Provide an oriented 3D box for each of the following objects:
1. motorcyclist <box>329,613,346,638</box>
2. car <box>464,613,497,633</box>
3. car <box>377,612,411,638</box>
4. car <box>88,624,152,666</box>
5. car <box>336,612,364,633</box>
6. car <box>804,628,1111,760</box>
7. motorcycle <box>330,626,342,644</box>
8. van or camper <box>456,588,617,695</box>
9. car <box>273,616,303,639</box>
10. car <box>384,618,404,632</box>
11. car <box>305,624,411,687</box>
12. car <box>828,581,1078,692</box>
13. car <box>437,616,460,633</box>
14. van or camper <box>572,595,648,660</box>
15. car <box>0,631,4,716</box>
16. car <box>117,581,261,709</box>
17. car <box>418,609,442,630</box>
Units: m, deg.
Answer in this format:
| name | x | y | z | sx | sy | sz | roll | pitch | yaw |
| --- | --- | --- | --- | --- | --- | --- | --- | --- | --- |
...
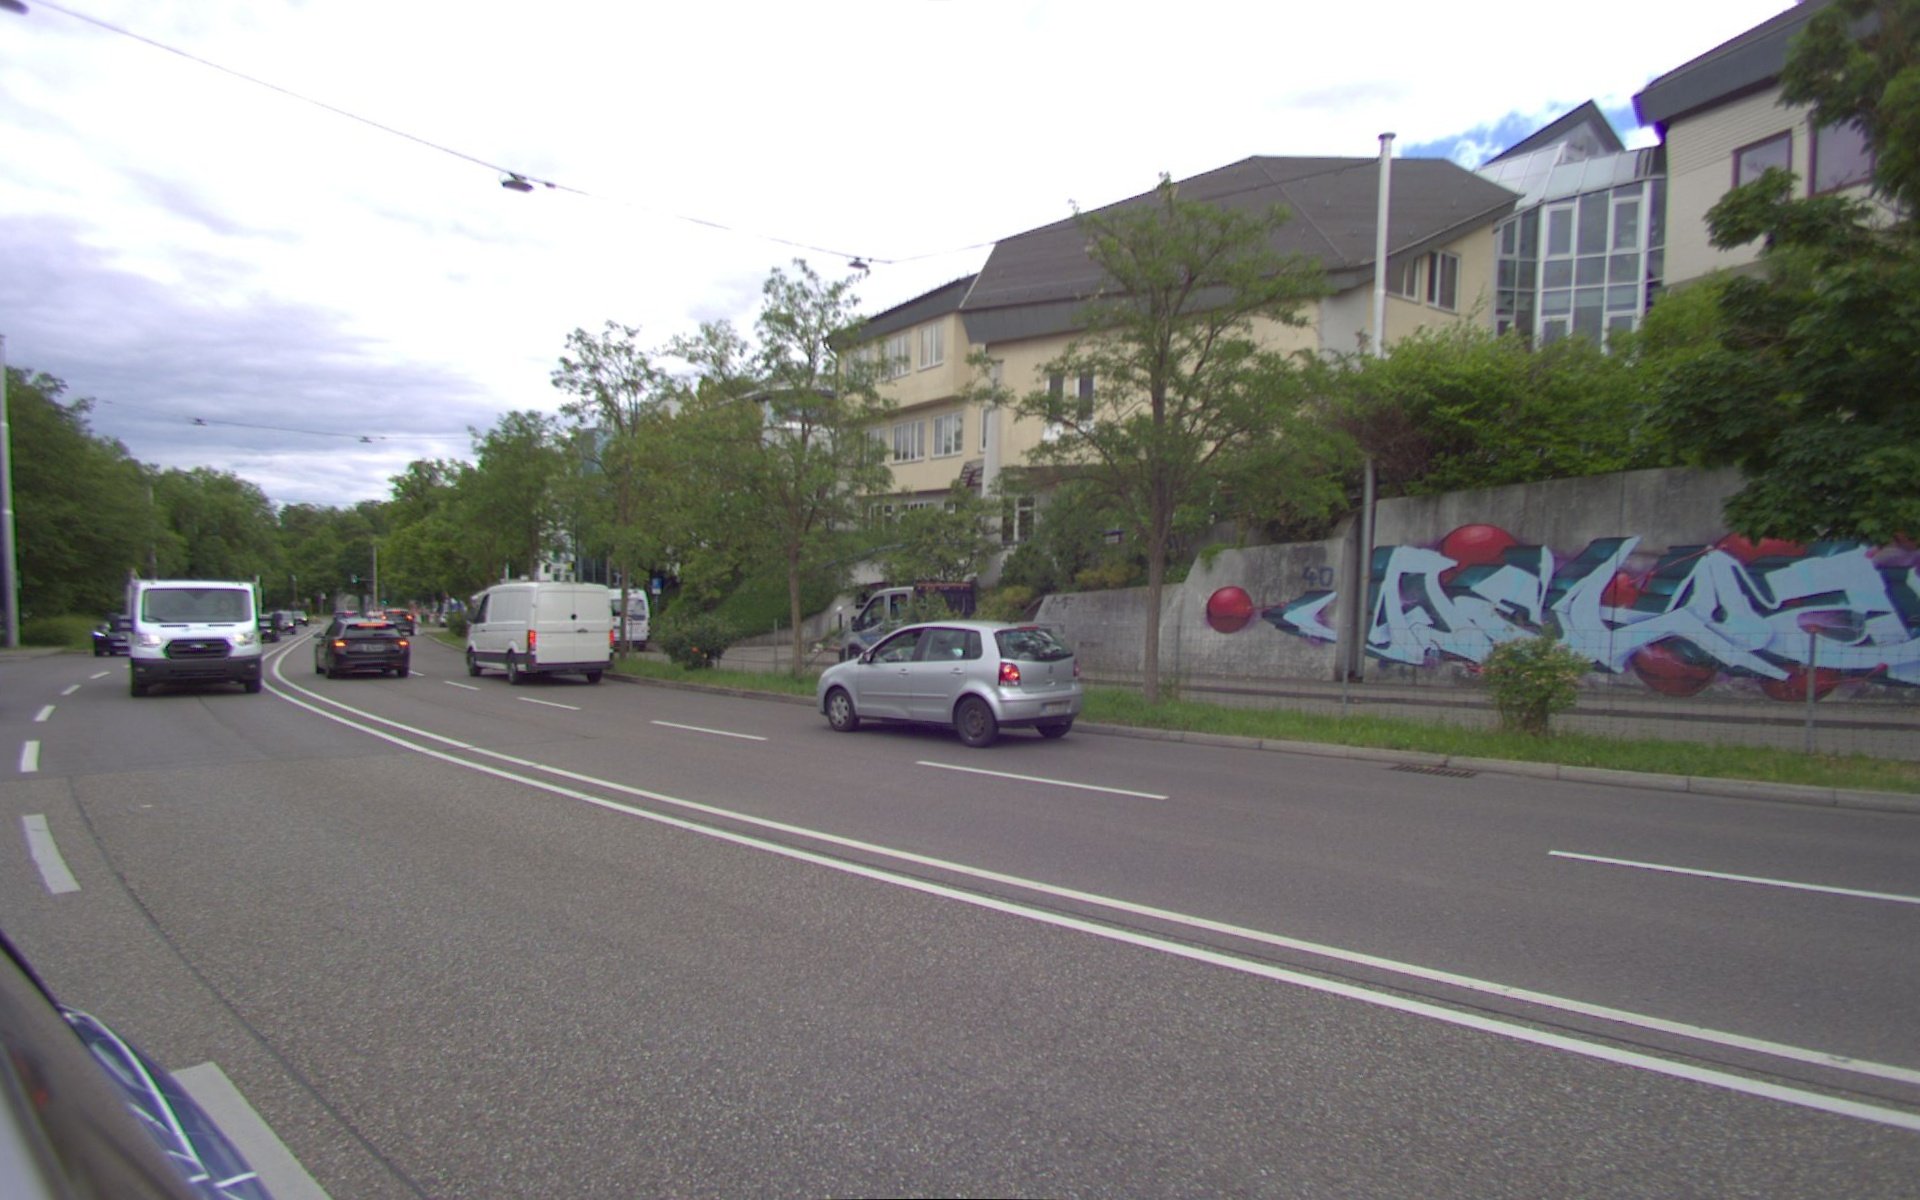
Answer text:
| name | x | y | z | sx | sy | sz | roll | pitch | yaw |
| --- | --- | --- | --- | --- | --- | --- | --- | --- | --- |
| motorcyclist | -38.264 | 1.563 | 62.199 | 0.750 | 1.496 | 0.963 | 3 | -3 | -34 |
| car | -37.195 | 1.792 | 78.472 | 1.650 | 1.439 | 4.429 | 3 | -3 | -34 |
| car | -35.215 | 1.557 | 62.924 | 1.760 | 1.587 | 4.481 | 1 | -2 | -31 |
| car | -31.265 | 1.629 | 37.615 | 1.708 | 1.421 | 4.005 | -1 | -1 | -41 |
| car | -46.879 | 1.730 | 77.717 | 1.760 | 1.550 | 4.087 | 0 | -1 | -32 |
| car | -0.136 | 1.075 | 12.941 | 3.809 | 1.419 | 1.684 | -1 | -2 | 43 |
| motorcycle | -38.509 | 2.134 | 62.484 | 0.477 | 1.064 | 2.274 | 1 | -1 | -35 |
| van or camper | -10.398 | 0.959 | 24.537 | 1.983 | 2.278 | 5.972 | 1 | -2 | -39 |
| car | -47.630 | 1.918 | 71.748 | 1.702 | 1.489 | 4.010 | -1 | 0 | -34 |
| car | -68.806 | 3.016 | 123.003 | 1.740 | 1.721 | 4.883 | -1 | -1 | -33 |
| car | -15.192 | 1.333 | 25.427 | 1.713 | 1.425 | 4.438 | 2 | -2 | -38 |
| car | -0.354 | 0.803 | 24.086 | 2.241 | 2.290 | 6.332 | 1 | -1 | -44 |
| car | -47.054 | 2.275 | 93.017 | 1.645 | 1.515 | 4.251 | 1 | -1 | -30 |
| van or camper | -14.628 | 1.119 | 42.085 | 1.966 | 2.492 | 5.727 | 1 | -1 | -30 |
| car | -14.998 | 1.139 | 14.225 | 1.793 | 1.357 | 4.009 | 2 | -2 | -37 |
| car | -15.405 | 0.846 | 20.524 | 1.967 | 2.190 | 6.284 | 0 | -1 | -34 |
| car | -67.777 | 2.488 | 129.424 | 1.967 | 2.545 | 6.551 | -2 | 0 | -34 |
